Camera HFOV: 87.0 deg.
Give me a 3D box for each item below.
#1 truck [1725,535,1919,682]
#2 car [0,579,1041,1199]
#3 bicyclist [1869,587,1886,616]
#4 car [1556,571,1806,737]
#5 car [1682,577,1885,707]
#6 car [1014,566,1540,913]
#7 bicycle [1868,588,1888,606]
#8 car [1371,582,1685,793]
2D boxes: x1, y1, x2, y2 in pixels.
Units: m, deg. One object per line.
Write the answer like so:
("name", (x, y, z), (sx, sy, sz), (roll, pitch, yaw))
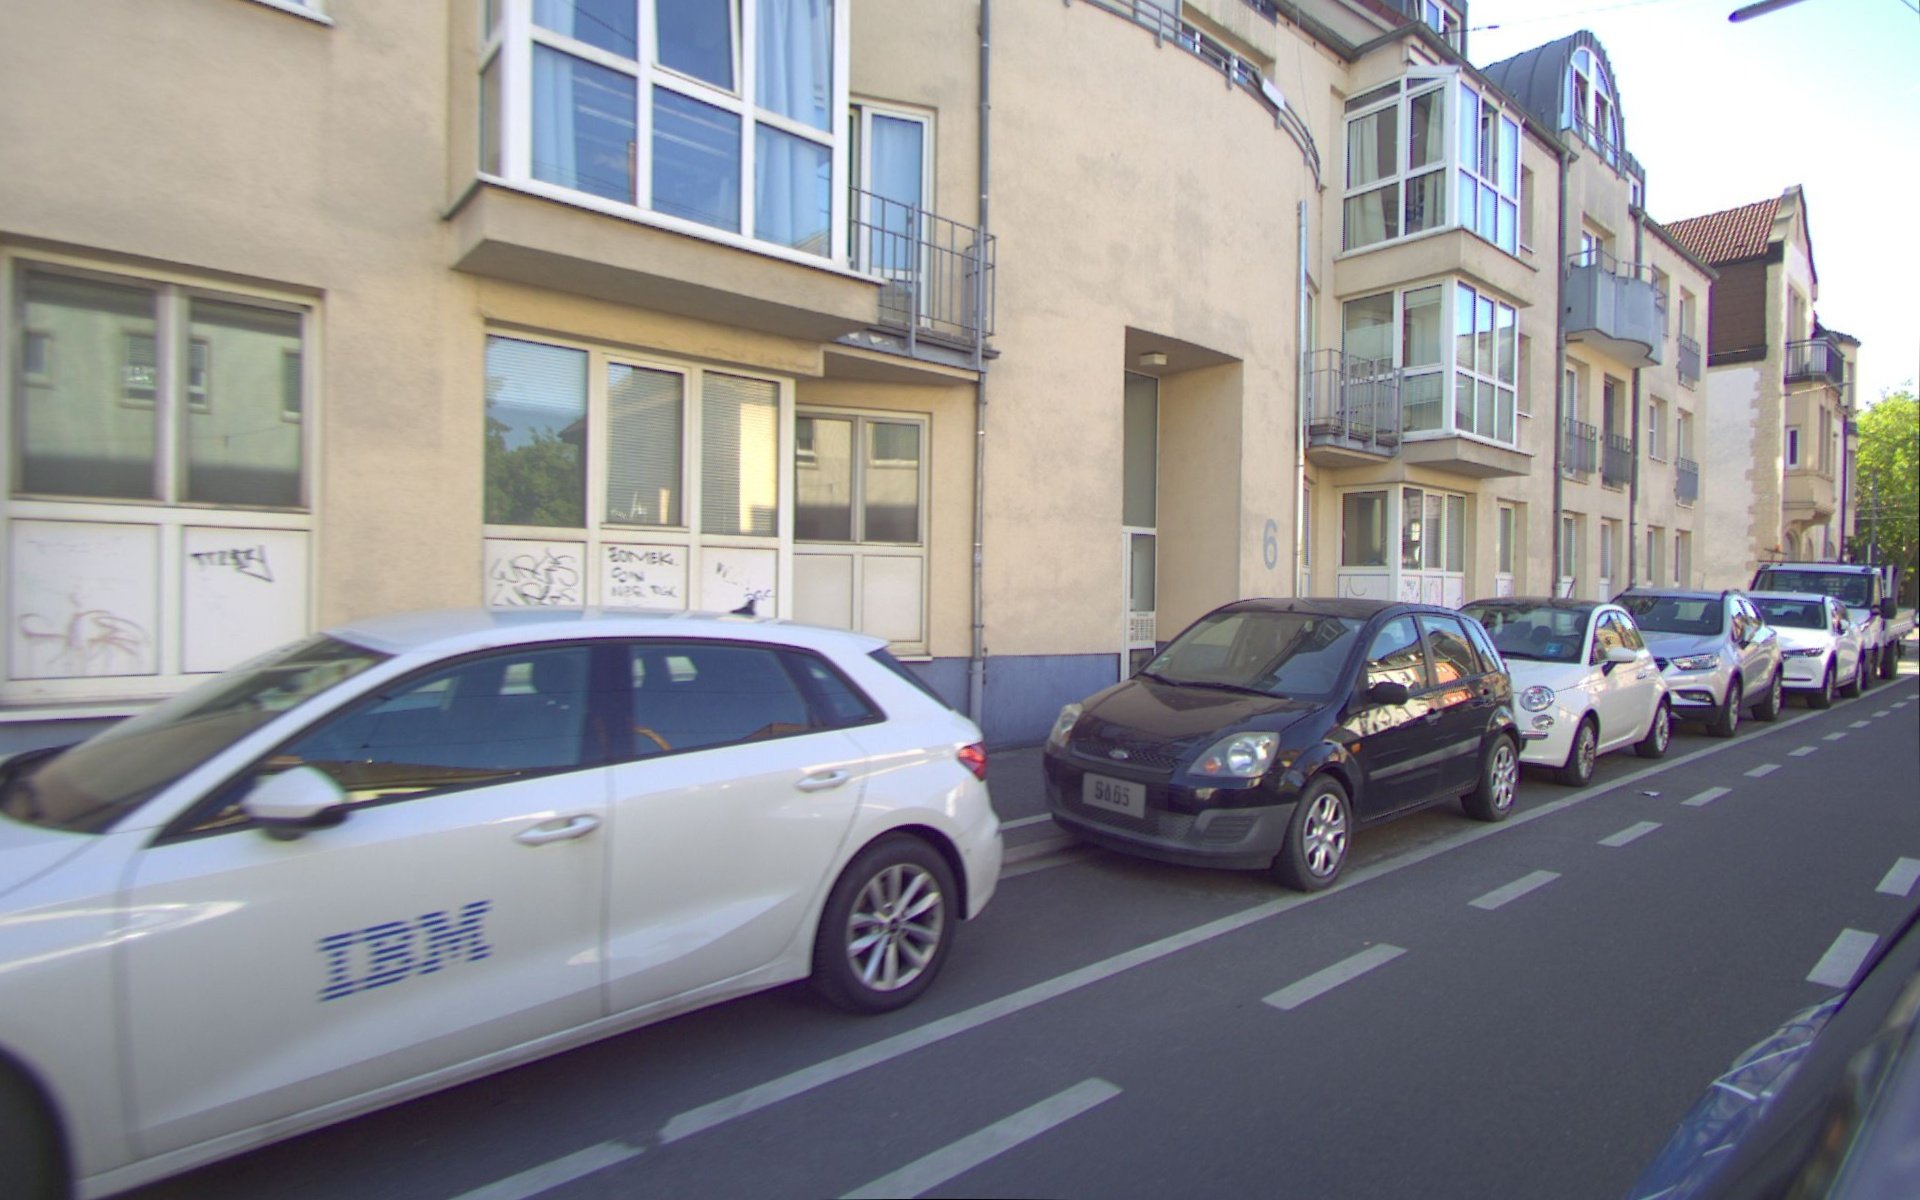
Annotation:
("truck", (17.414, 0.121, 20.094), (6.038, 2.508, 2.300), (0, 1, -41))
("car", (-1.758, 0.716, 3.289), (4.100, 1.510, 1.679), (0, -1, -42))
("bicyclist", (57.587, 0.079, 63.506), (0.611, 1.751, 0.669), (4, -1, -41))
("car", (8.941, 0.565, 12.433), (3.919, 1.721, 1.605), (0, -1, -41))
("car", (12.969, 0.572, 15.857), (4.181, 1.769, 1.742), (0, -1, -41))
("car", (2.161, 0.637, 6.397), (3.589, 1.577, 1.556), (0, -1, -42))
("bicycle", (57.749, -0.173, 63.639), (2.062, 1.047, 0.690), (3, -1, -41))
("car", (5.264, 0.654, 9.232), (3.307, 1.577, 1.498), (0, -1, -42))
